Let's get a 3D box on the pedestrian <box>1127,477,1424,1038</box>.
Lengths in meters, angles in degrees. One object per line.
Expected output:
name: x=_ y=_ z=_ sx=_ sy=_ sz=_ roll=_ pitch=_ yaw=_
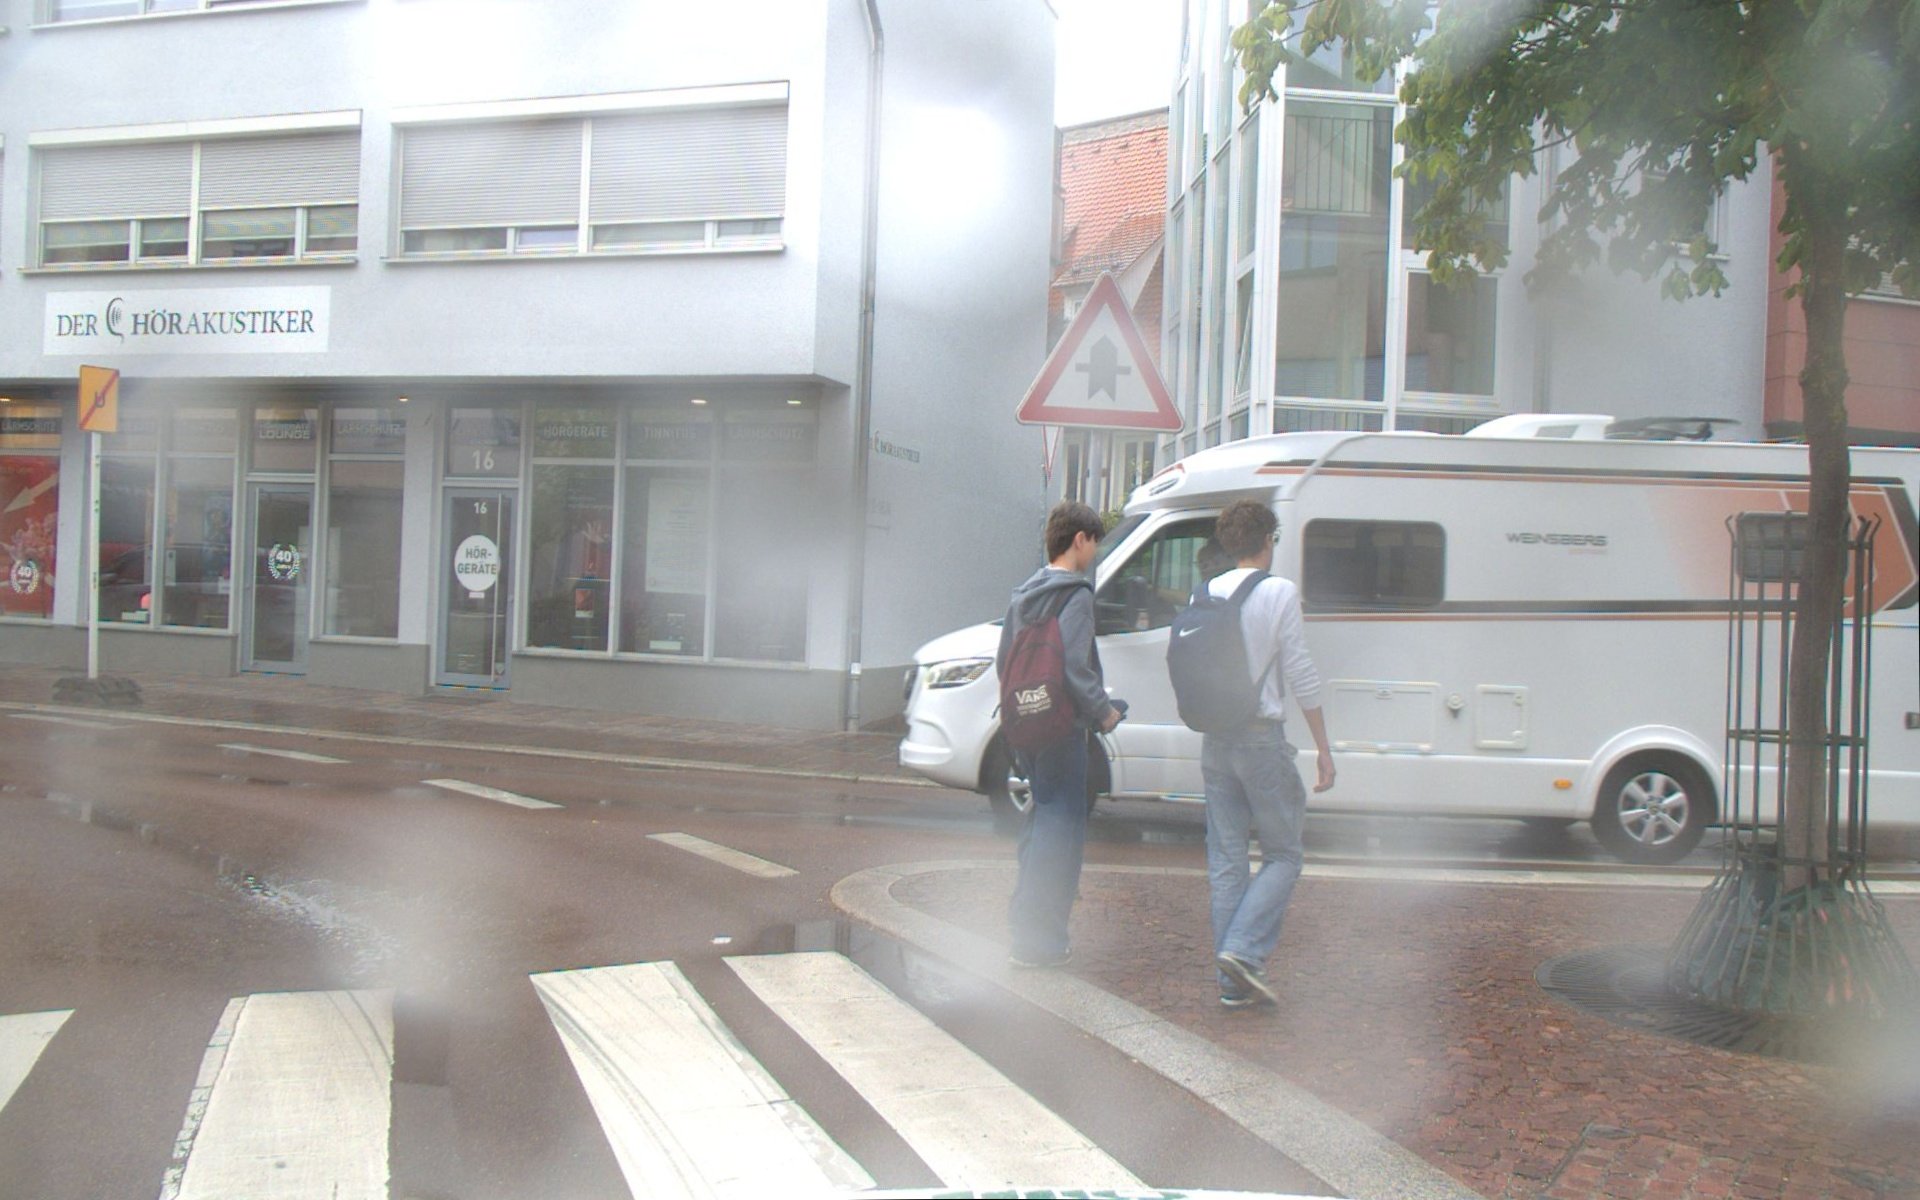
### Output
pedestrian: x=1.177 y=0.519 z=6.048 sx=0.652 sy=1.838 sz=1.057 roll=1 pitch=-1 yaw=35

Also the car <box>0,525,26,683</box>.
car: x=-12.312 y=0.002 z=17.255 sx=4.359 sy=1.659 sz=1.783 roll=1 pitch=0 yaw=12

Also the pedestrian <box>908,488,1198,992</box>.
pedestrian: x=0.396 y=0.512 z=6.642 sx=0.680 sy=1.832 sz=1.055 roll=1 pitch=-1 yaw=34

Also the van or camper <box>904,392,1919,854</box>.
van or camper: x=3.027 y=0.152 z=11.558 sx=6.589 sy=2.631 sz=2.446 roll=2 pitch=-1 yaw=2
